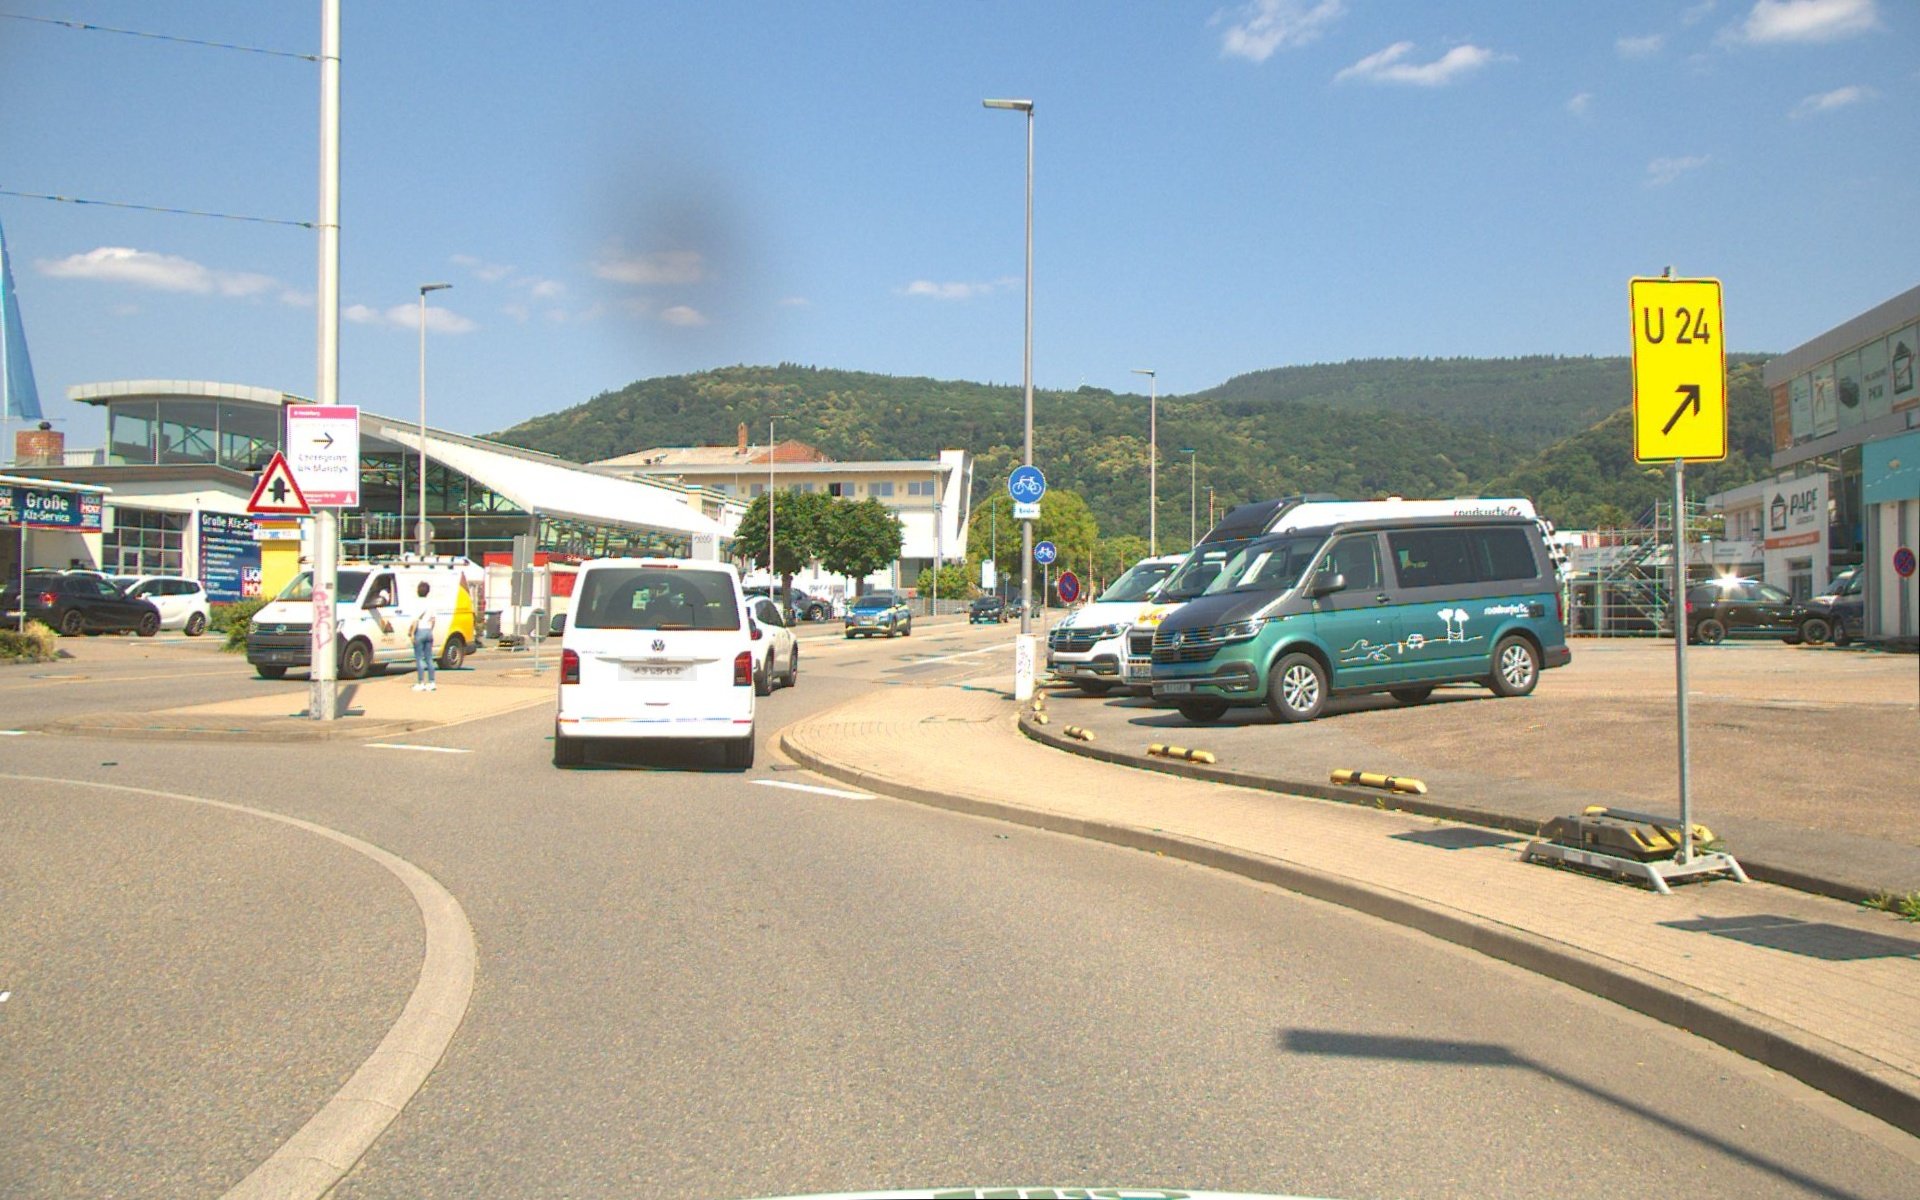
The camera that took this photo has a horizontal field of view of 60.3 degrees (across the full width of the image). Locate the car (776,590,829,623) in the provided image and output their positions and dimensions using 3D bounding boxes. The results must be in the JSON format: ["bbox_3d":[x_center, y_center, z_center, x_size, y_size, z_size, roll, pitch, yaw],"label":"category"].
[{"bbox_3d":[-8.104,0.330,84.998,1.721,1.612,3.636,0,0,-23],"label":"car"}]

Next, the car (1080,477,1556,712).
[{"bbox_3d":[4.760,-0.086,21.796,6.061,2.764,2.288,0,0,-26],"label":"car"}]

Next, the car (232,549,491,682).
[{"bbox_3d":[-10.602,0.229,29.766,1.978,2.151,4.938,1,1,14],"label":"car"}]

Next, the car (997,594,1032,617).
[{"bbox_3d":[3.625,0.327,109.615,1.802,1.489,4.003,0,0,9],"label":"car"}]

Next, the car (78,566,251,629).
[{"bbox_3d":[-22.202,-0.053,46.399,1.840,1.616,4.932,-2,-1,9],"label":"car"}]

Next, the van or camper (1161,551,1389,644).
[{"bbox_3d":[9.208,-0.090,48.447,6.365,2.606,2.977,0,0,12],"label":"van or camper"}]

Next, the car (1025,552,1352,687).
[{"bbox_3d":[3.779,0.279,27.387,5.057,2.049,1.920,-1,0,-20],"label":"car"}]

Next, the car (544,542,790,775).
[{"bbox_3d":[-3.031,0.554,17.317,2.123,2.049,5.006,2,-1,-10],"label":"car"}]

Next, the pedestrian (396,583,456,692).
[{"bbox_3d":[-8.381,0.583,25.958,0.751,1.685,0.665,1,0,-31],"label":"pedestrian"}]

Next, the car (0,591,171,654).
[{"bbox_3d":[-21.326,0.499,39.932,1.983,1.452,4.321,0,0,9],"label":"car"}]

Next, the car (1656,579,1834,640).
[{"bbox_3d":[20.654,0.242,43.659,3.901,1.545,1.892,0,0,11],"label":"car"}]

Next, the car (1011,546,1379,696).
[{"bbox_3d":[3.469,0.277,24.311,5.074,2.035,2.010,0,-1,-24],"label":"car"}]

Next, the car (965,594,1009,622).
[{"bbox_3d":[1.488,0.420,90.079,1.802,1.489,4.004,0,0,10],"label":"car"}]

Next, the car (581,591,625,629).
[{"bbox_3d":[-15.399,0.418,71.477,1.713,1.612,3.653,0,0,-10],"label":"car"}]

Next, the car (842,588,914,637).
[{"bbox_3d":[-3.062,0.430,62.784,1.868,1.791,4.455,0,0,9],"label":"car"}]

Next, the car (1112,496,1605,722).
[{"bbox_3d":[4.360,0.070,17.907,5.150,2.150,2.078,0,0,-28],"label":"car"}]

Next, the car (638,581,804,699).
[{"bbox_3d":[-3.981,0.608,28.222,1.952,1.737,4.002,3,1,3],"label":"car"}]
